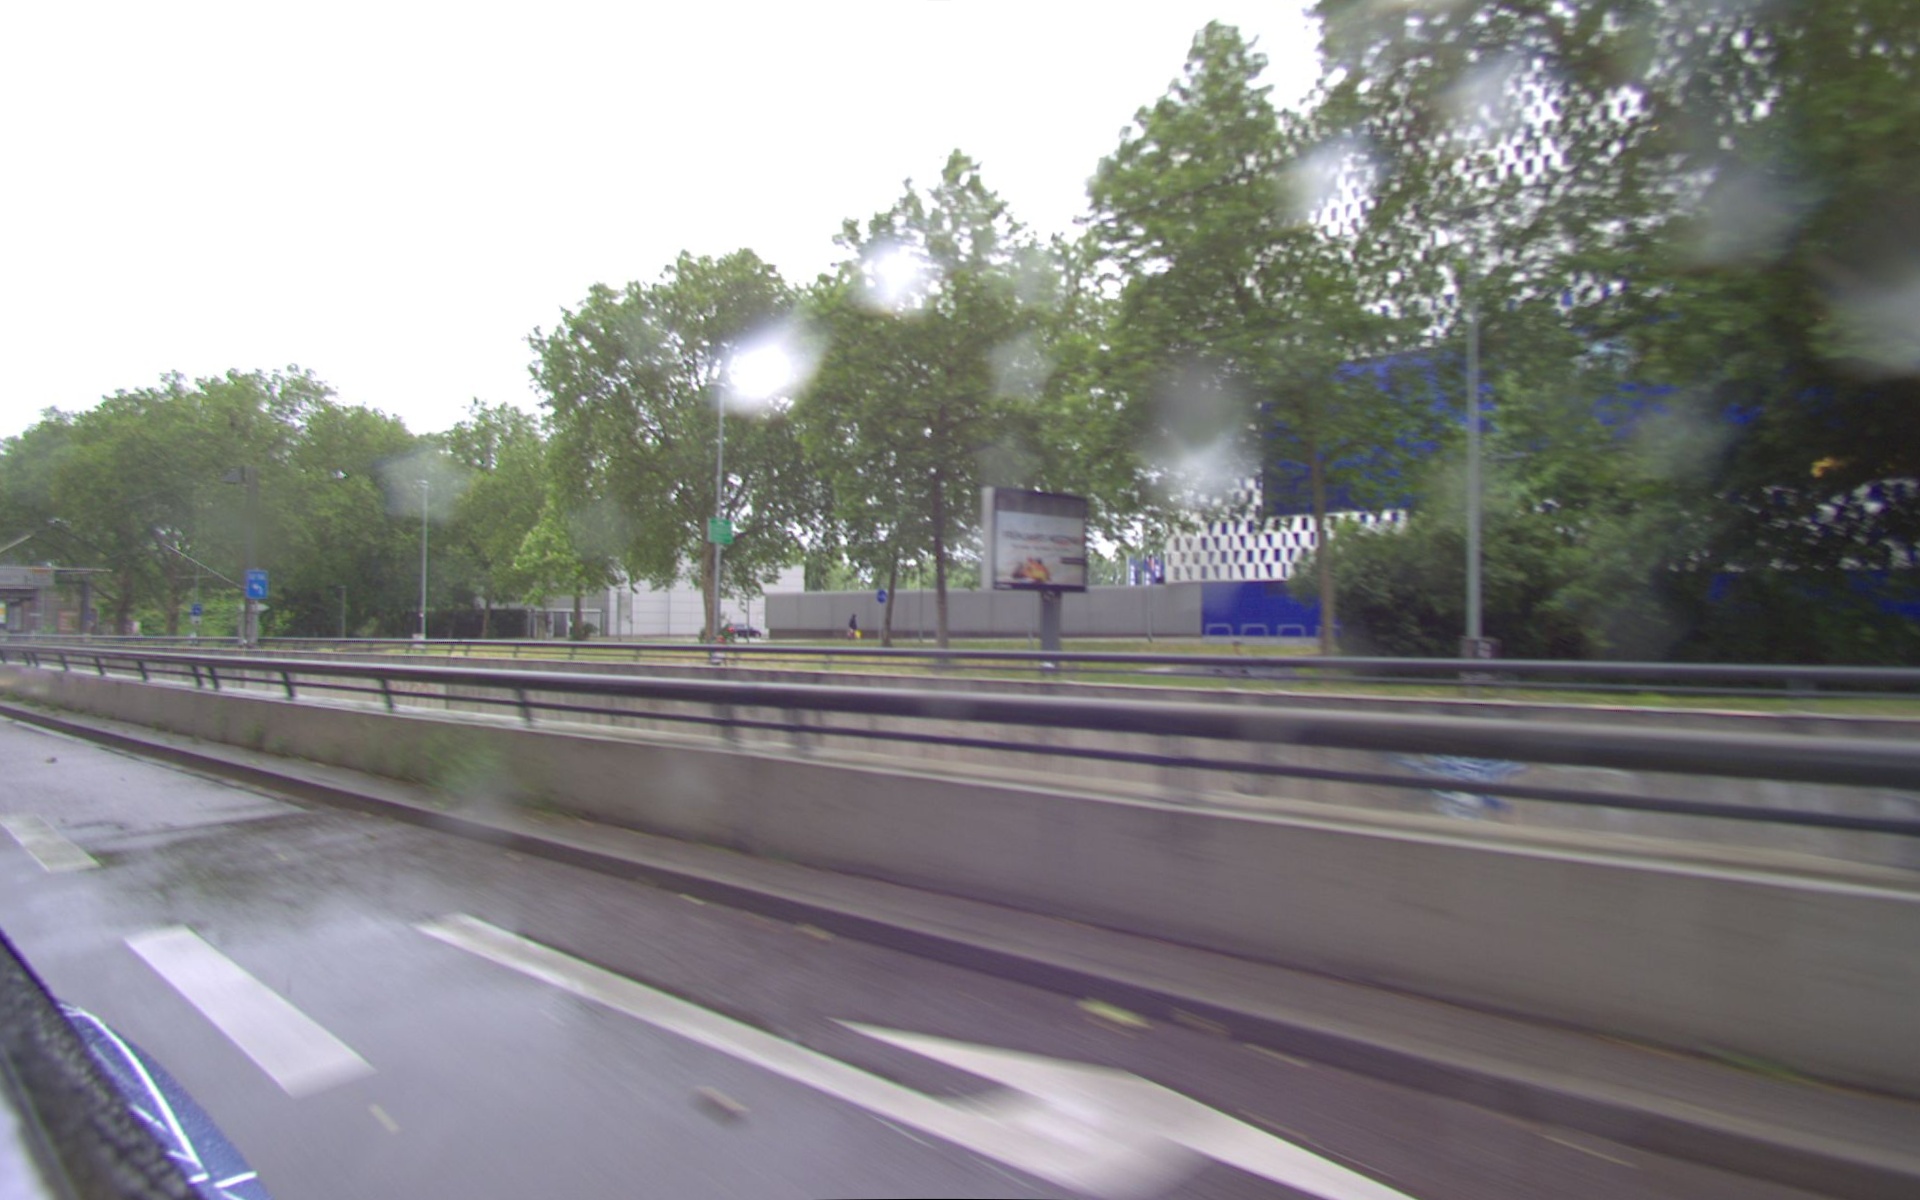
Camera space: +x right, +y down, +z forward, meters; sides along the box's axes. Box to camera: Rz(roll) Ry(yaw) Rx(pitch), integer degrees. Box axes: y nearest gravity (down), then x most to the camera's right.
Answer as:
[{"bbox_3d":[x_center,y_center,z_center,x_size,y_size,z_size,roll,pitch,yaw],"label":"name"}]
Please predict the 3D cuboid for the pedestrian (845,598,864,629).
[{"bbox_3d":[-7.053,0.899,67.468,0.789,2.029,0.991,0,1,40],"label":"pedestrian"}]
